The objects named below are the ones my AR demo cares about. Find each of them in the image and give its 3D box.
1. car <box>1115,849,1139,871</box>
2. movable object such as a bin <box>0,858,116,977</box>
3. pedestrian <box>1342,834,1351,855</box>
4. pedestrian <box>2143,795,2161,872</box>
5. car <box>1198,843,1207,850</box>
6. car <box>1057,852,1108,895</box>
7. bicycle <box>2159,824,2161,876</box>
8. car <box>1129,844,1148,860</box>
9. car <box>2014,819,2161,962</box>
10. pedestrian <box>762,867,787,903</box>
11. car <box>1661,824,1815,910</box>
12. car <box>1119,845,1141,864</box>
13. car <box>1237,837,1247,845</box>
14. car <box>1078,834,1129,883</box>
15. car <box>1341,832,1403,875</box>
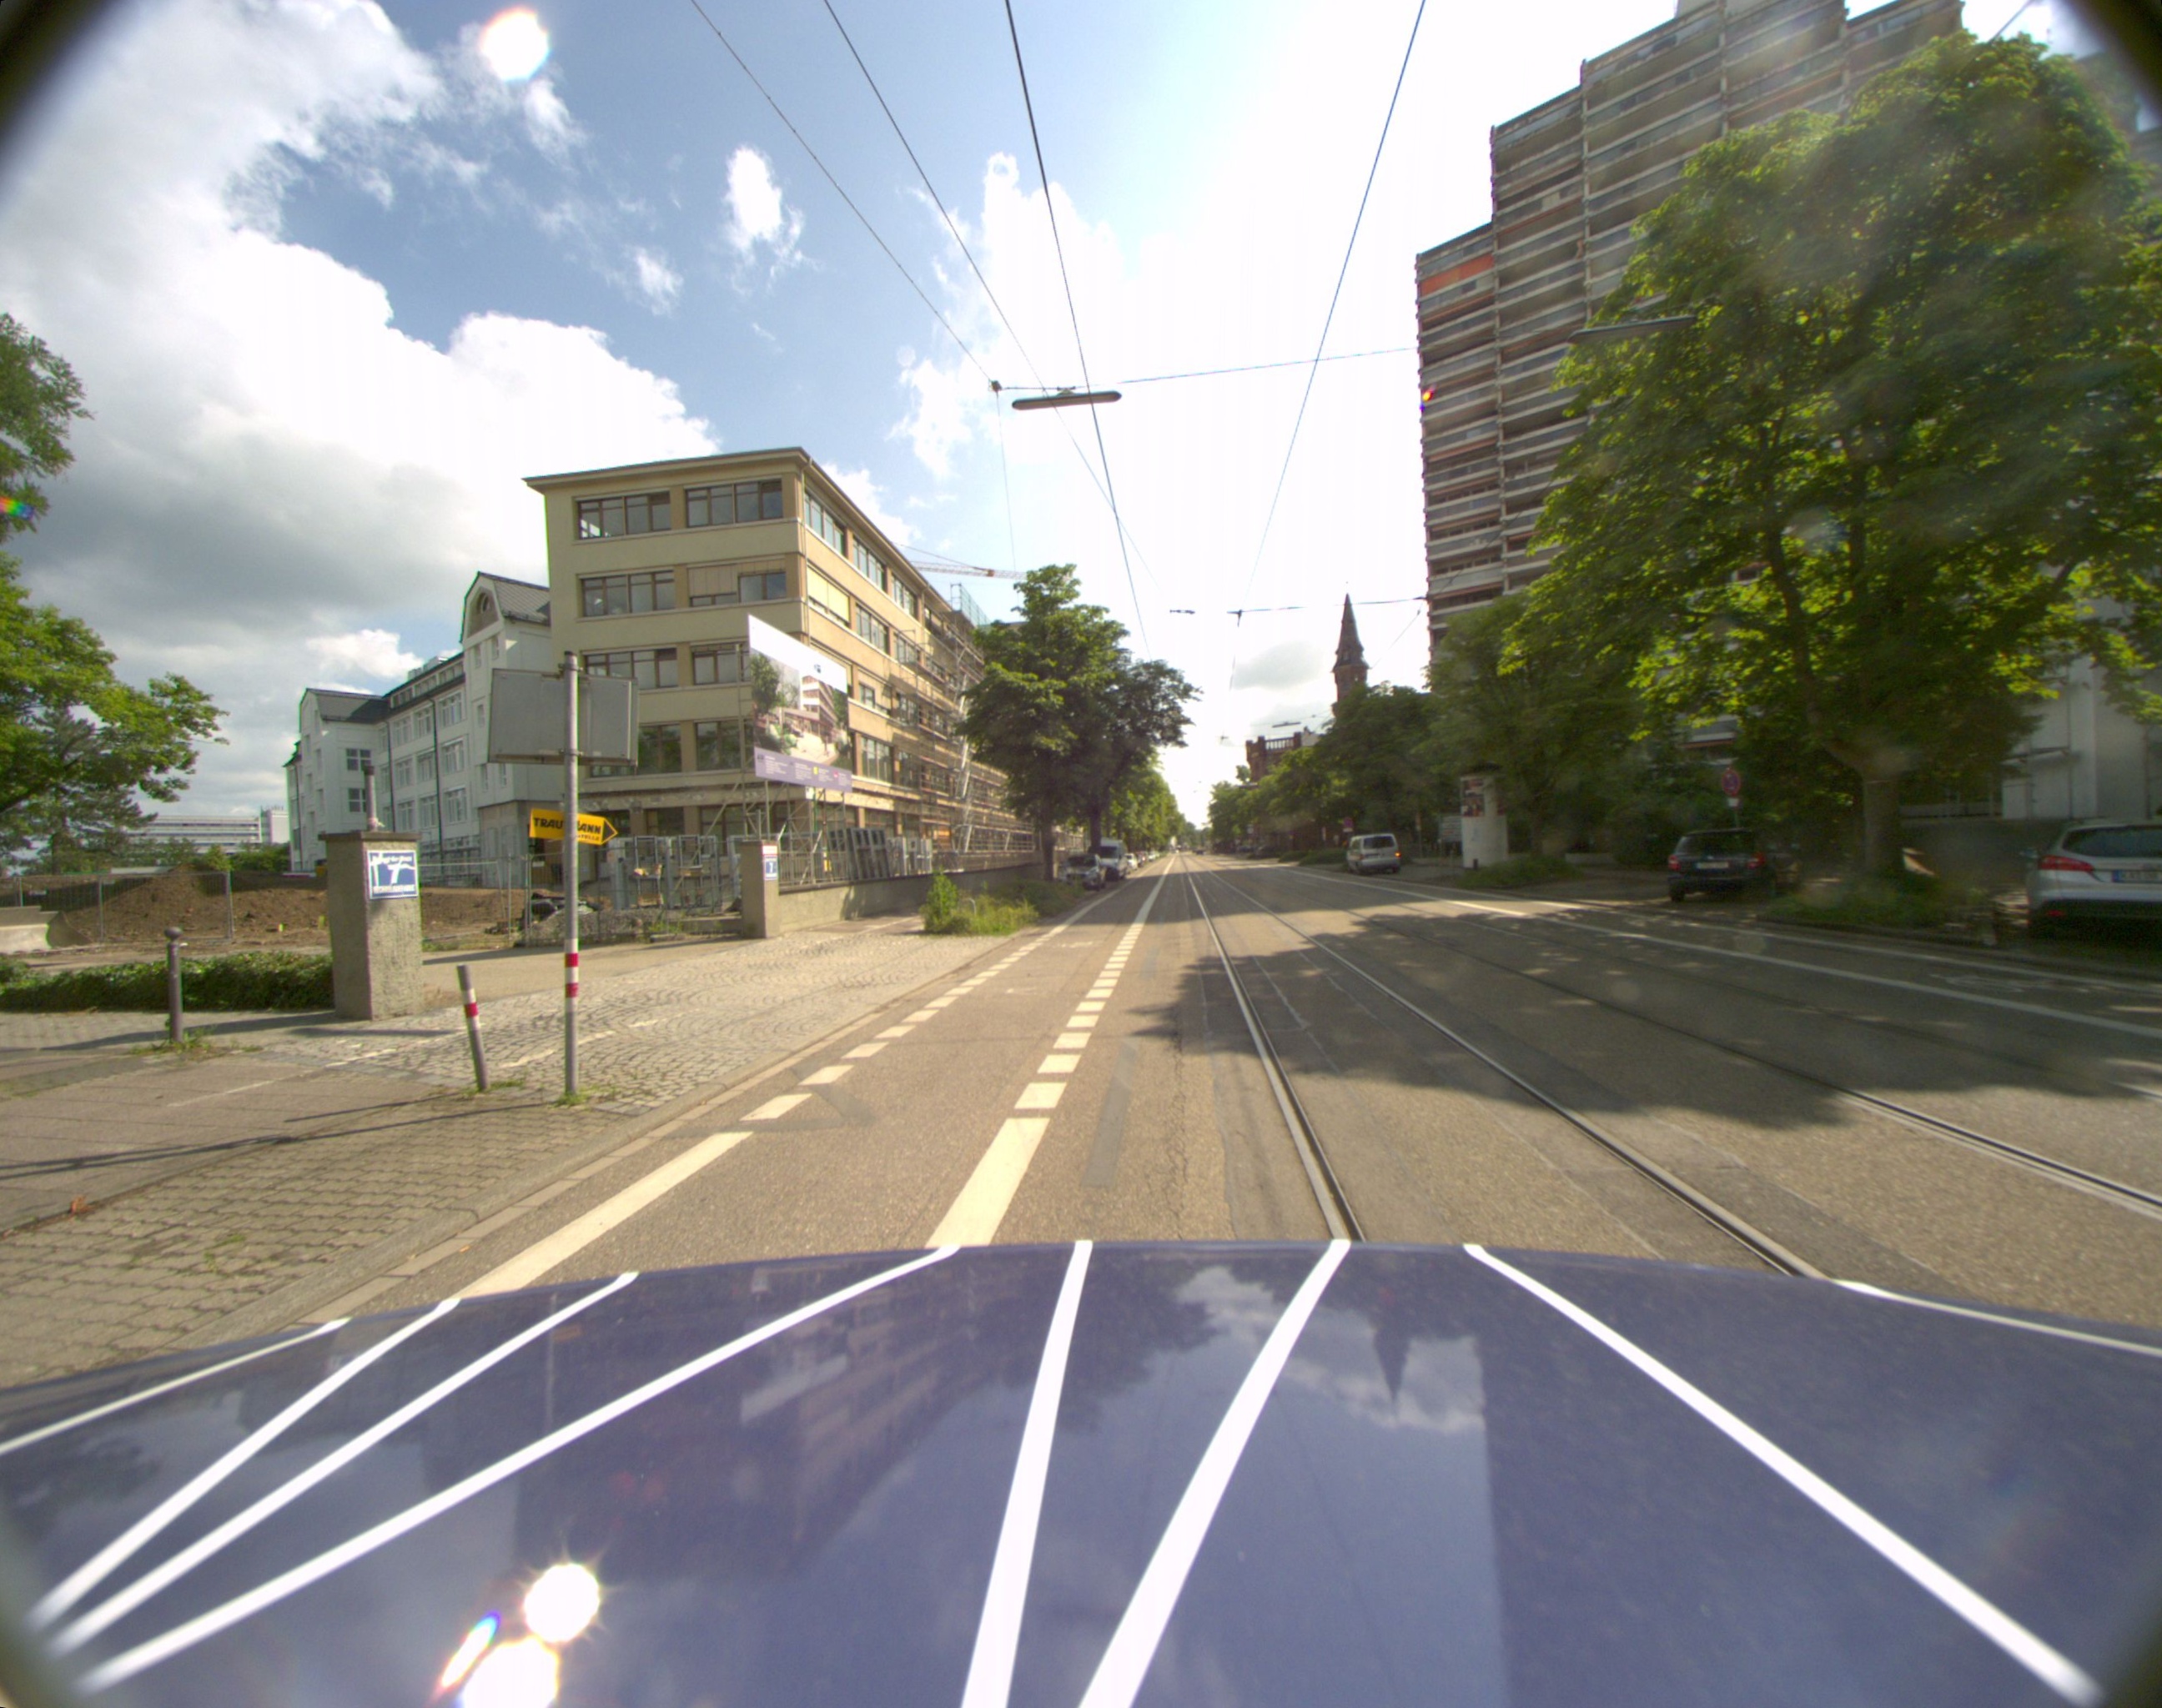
[{"bbox_3d":[3.939,0.452,64.490,1.749,1.597,4.237,-5,1,6],"label":"car"},{"bbox_3d":[-24.696,1.351,15.979,5.434,2.429,1.998,-1,-1,-11],"label":"movable object such as a bin"},{"bbox_3d":[22.117,-0.807,63.386,0.462,1.745,0.533,-5,3,1],"label":"pedestrian"},{"bbox_3d":[23.131,-0.444,15.985,0.641,1.615,0.662,-4,2,-1],"label":"pedestrian"},{"bbox_3d":[30.218,-1.983,189.047,1.891,1.635,4.237,-3,1,6],"label":"car"},{"bbox_3d":[0.132,0.836,34.524,1.749,1.597,4.237,-5,1,6],"label":"car"},{"bbox_3d":[23.000,-0.114,15.178,1.576,1.074,0.543,-2,-1,31],"label":"bicycle"},{"bbox_3d":[6.486,-0.273,85.355,1.749,1.597,4.237,-5,1,6],"label":"car"},{"bbox_3d":[13.222,0.350,9.559,4.200,1.492,1.817,-3,1,-39],"label":"car"},{"bbox_3d":[-11.678,1.181,28.945,0.634,1.306,0.463,-4,4,25],"label":"pedestrian"},{"bbox_3d":[13.835,0.220,15.933,3.892,1.514,1.738,-3,1,-39],"label":"car"},{"bbox_3d":[4.852,0.004,74.960,1.749,1.597,4.237,-5,1,6],"label":"car"},{"bbox_3d":[33.778,-2.759,159.320,1.627,1.565,3.953,1,1,8],"label":"car"},{"bbox_3d":[1.427,0.210,44.902,2.336,2.545,5.392,-5,1,6],"label":"car"},{"bbox_3d":[14.338,-0.081,37.726,1.891,1.840,4.238,-5,1,9],"label":"car"}]
